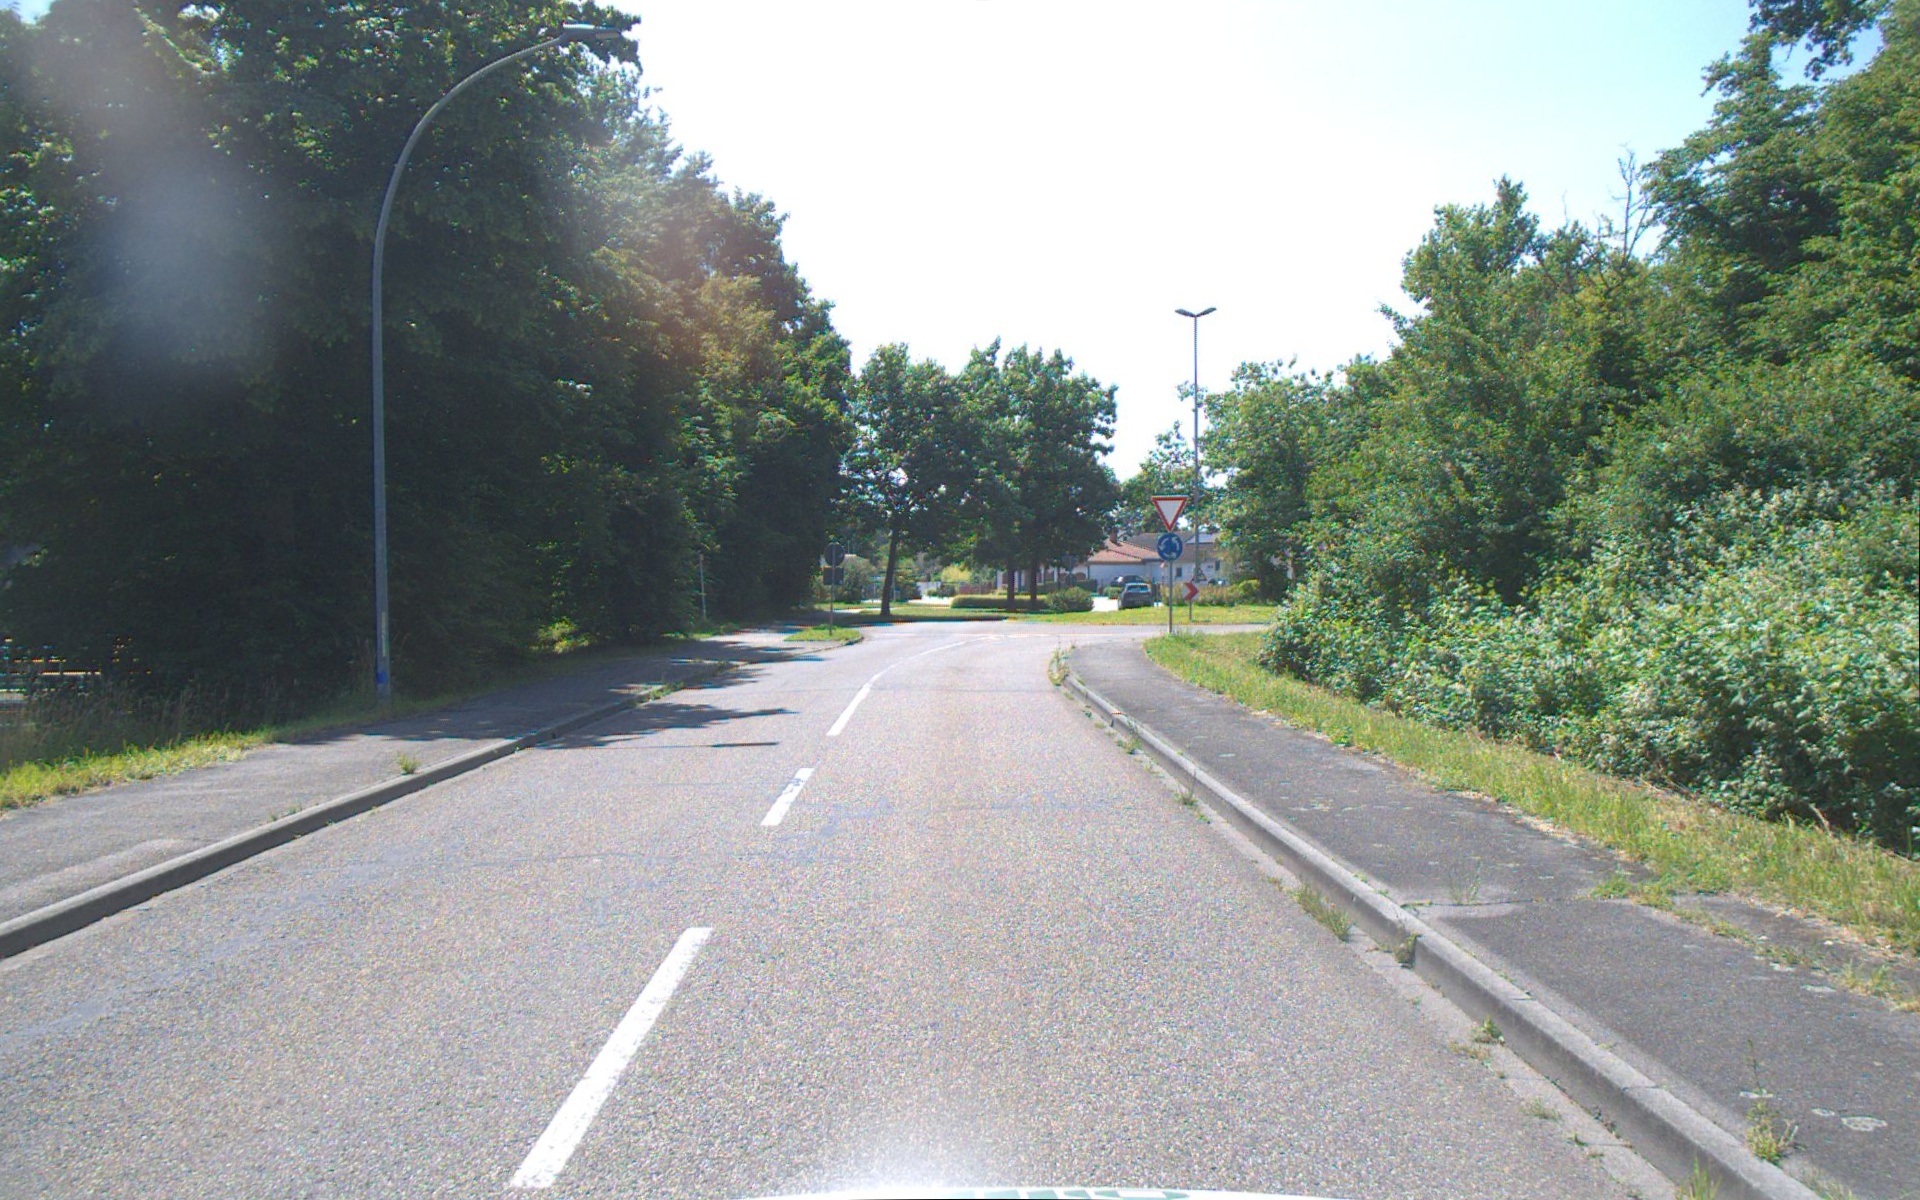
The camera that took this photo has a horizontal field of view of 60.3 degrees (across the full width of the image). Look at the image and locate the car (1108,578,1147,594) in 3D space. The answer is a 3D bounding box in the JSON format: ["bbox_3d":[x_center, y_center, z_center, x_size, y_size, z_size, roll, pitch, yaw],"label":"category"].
[{"bbox_3d":[16.711,-1.443,165.077,3.806,1.569,1.825,-1,0,-43],"label":"car"}]

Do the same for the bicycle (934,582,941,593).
[{"bbox_3d":[-1.974,-1.058,143.957,0.585,0.945,1.620,-1,0,-2],"label":"bicycle"}]

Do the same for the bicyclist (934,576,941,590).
[{"bbox_3d":[-1.974,-1.482,143.849,0.585,1.185,0.648,-1,0,-2],"label":"bicyclist"}]

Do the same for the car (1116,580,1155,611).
[{"bbox_3d":[9.142,-0.245,86.195,1.595,1.512,4.000,-1,1,0],"label":"car"}]
